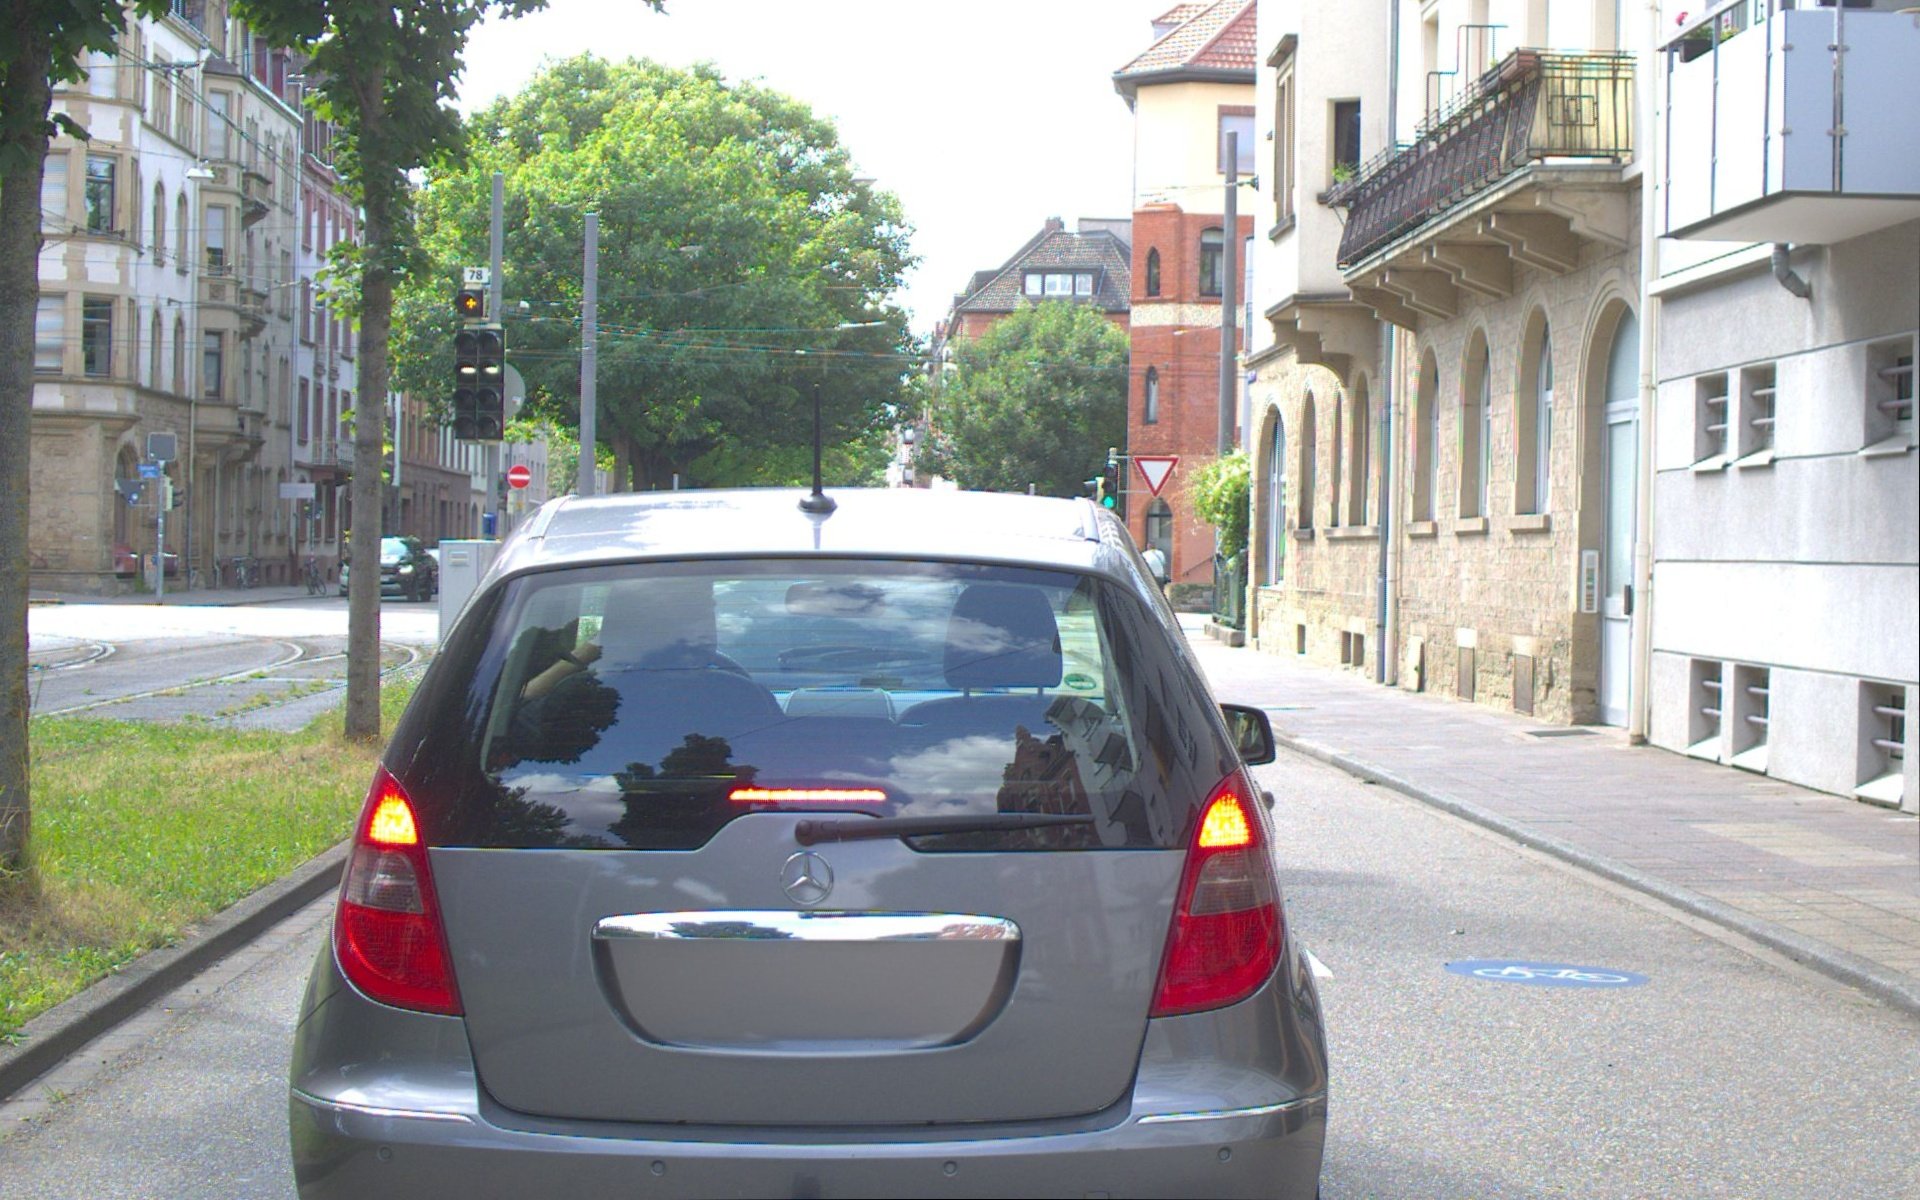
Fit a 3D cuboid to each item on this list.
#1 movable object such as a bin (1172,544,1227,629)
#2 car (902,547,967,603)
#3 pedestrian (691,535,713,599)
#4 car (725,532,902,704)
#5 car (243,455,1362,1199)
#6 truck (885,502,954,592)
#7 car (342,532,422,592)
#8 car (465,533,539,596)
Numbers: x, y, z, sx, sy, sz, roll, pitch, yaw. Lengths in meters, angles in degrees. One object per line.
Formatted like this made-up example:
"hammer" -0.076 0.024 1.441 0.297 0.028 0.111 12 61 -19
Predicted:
"movable object such as a bin" 4.149 -0.239 59.609 0.714 1.467 0.983 0 1 -10
"car" -0.761 -0.757 103.986 1.752 1.627 3.499 1 1 2
"pedestrian" -7.000 -0.897 93.358 0.493 1.719 0.654 1 1 -10
"car" -1.488 0.156 36.058 1.722 1.700 3.677 1 1 -1
"car" -0.266 0.560 7.165 1.722 1.600 3.677 1 1 -1
"truck" -1.355 -1.798 116.912 2.123 2.960 4.000 1 1 2
"car" -16.059 -1.064 95.700 1.993 1.612 4.001 0 1 -7
"car" -12.936 -1.006 97.239 1.993 1.722 4.001 0 1 -7
